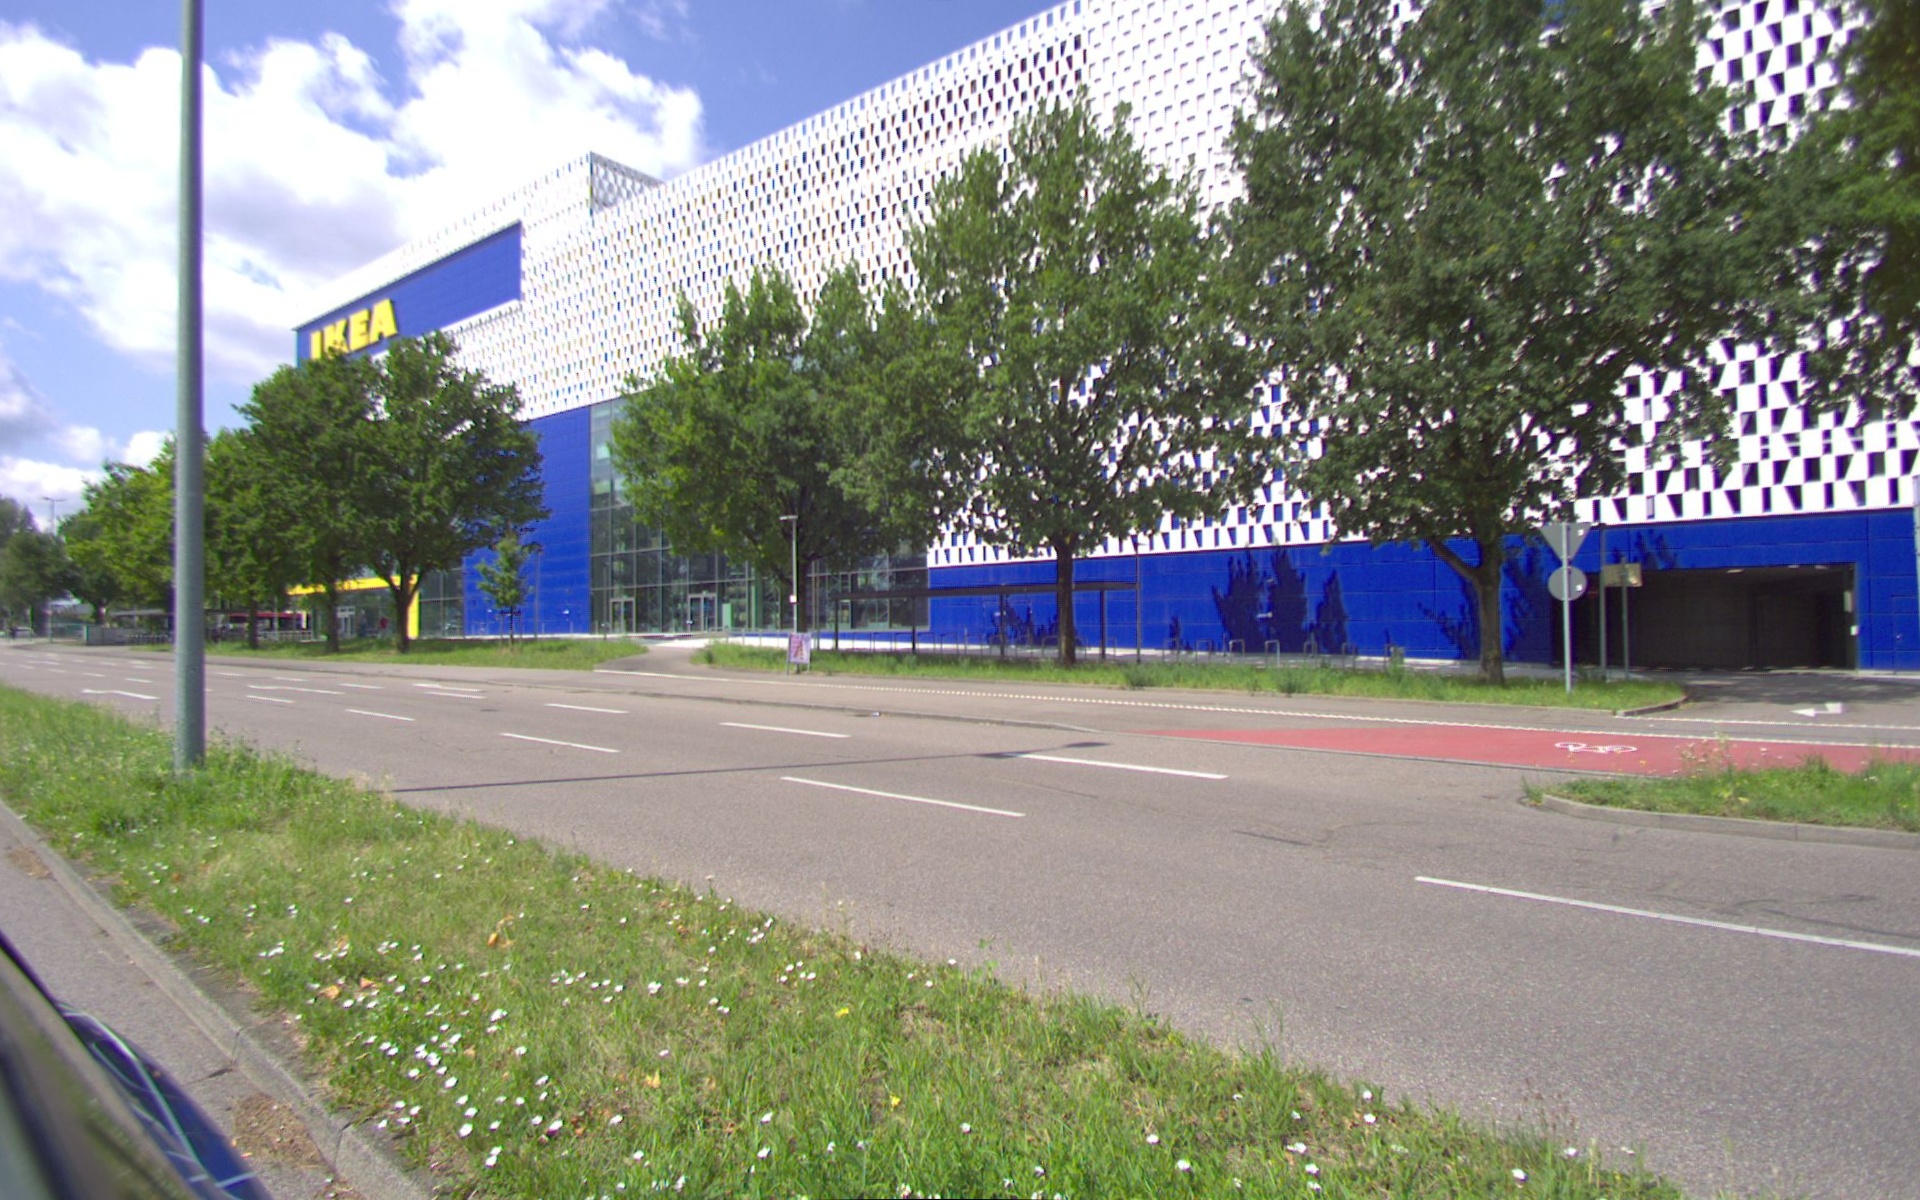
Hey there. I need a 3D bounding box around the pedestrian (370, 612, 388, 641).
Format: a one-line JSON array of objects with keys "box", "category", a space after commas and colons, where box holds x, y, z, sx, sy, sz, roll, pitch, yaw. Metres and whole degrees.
[{"box": [-37.775, 1.713, 65.806, 0.886, 1.836, 0.746, -2, -1, 39], "category": "pedestrian"}]

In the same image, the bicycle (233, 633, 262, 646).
[{"box": [-60.588, 3.369, 86.040, 0.527, 1.078, 1.918, -1, -1, 34], "category": "bicycle"}]

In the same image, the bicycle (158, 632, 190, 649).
[{"box": [-62.281, 3.186, 80.162, 0.629, 1.282, 1.906, -2, -1, 38], "category": "bicycle"}]

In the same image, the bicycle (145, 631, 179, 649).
[{"box": [-59.591, 3.002, 75.538, 0.629, 1.282, 1.906, -3, -2, 38], "category": "bicycle"}]

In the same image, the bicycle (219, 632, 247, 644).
[{"box": [-63.498, 3.308, 88.349, 0.527, 1.078, 1.918, -1, -1, 34], "category": "bicycle"}]

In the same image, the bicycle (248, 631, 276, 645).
[{"box": [-58.892, 3.199, 85.423, 0.527, 1.219, 1.918, -1, -1, 34], "category": "bicycle"}]

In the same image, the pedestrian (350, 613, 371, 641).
[{"box": [-38.173, 1.721, 64.434, 0.886, 1.715, 0.941, -2, -1, 39], "category": "pedestrian"}]

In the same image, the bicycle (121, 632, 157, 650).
[{"box": [-62.863, 3.144, 77.468, 0.629, 1.282, 2.069, -3, -2, 38], "category": "bicycle"}]

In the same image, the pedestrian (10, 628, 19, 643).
[{"box": [-96.650, 3.616, 103.440, 0.615, 1.502, 0.435, -1, -2, 22], "category": "pedestrian"}]

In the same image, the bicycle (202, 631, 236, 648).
[{"box": [-53.731, 2.866, 73.416, 0.629, 1.193, 1.906, -3, -2, 38], "category": "bicycle"}]

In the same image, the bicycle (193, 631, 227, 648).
[{"box": [-55.407, 2.935, 74.765, 0.629, 1.188, 1.906, -3, -2, 38], "category": "bicycle"}]

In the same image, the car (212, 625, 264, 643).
[{"box": [-87.941, 4.141, 123.262, 1.996, 2.029, 4.765, -3, -2, 35], "category": "car"}]

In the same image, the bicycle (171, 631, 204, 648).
[{"box": [-60.106, 3.051, 78.753, 0.629, 1.282, 1.906, -3, -2, 38], "category": "bicycle"}]

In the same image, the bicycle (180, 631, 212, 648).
[{"box": [-58.289, 3.023, 77.223, 0.629, 1.282, 1.906, -3, -2, 38], "category": "bicycle"}]

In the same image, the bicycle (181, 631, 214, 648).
[{"box": [-57.591, 2.975, 76.482, 0.629, 1.282, 1.906, -3, -2, 38], "category": "bicycle"}]

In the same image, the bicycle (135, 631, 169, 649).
[{"box": [-61.471, 3.038, 76.981, 0.629, 1.282, 1.906, -3, -2, 38], "category": "bicycle"}]

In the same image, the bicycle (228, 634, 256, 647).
[{"box": [-61.474, 3.445, 86.664, 0.519, 1.098, 1.913, -3, -2, 34], "category": "bicycle"}]

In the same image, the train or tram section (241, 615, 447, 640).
[{"box": [-85.619, 3.972, 142.113, 4.523, 3.055, 24.813, -2, -4, 37], "category": "train or tram section"}]

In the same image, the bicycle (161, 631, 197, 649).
[{"box": [-55.862, 2.853, 72.397, 0.629, 1.192, 1.906, -3, -2, 38], "category": "bicycle"}]

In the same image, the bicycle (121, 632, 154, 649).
[{"box": [-64.355, 3.154, 79.198, 0.629, 1.282, 1.906, -3, -2, 38], "category": "bicycle"}]
